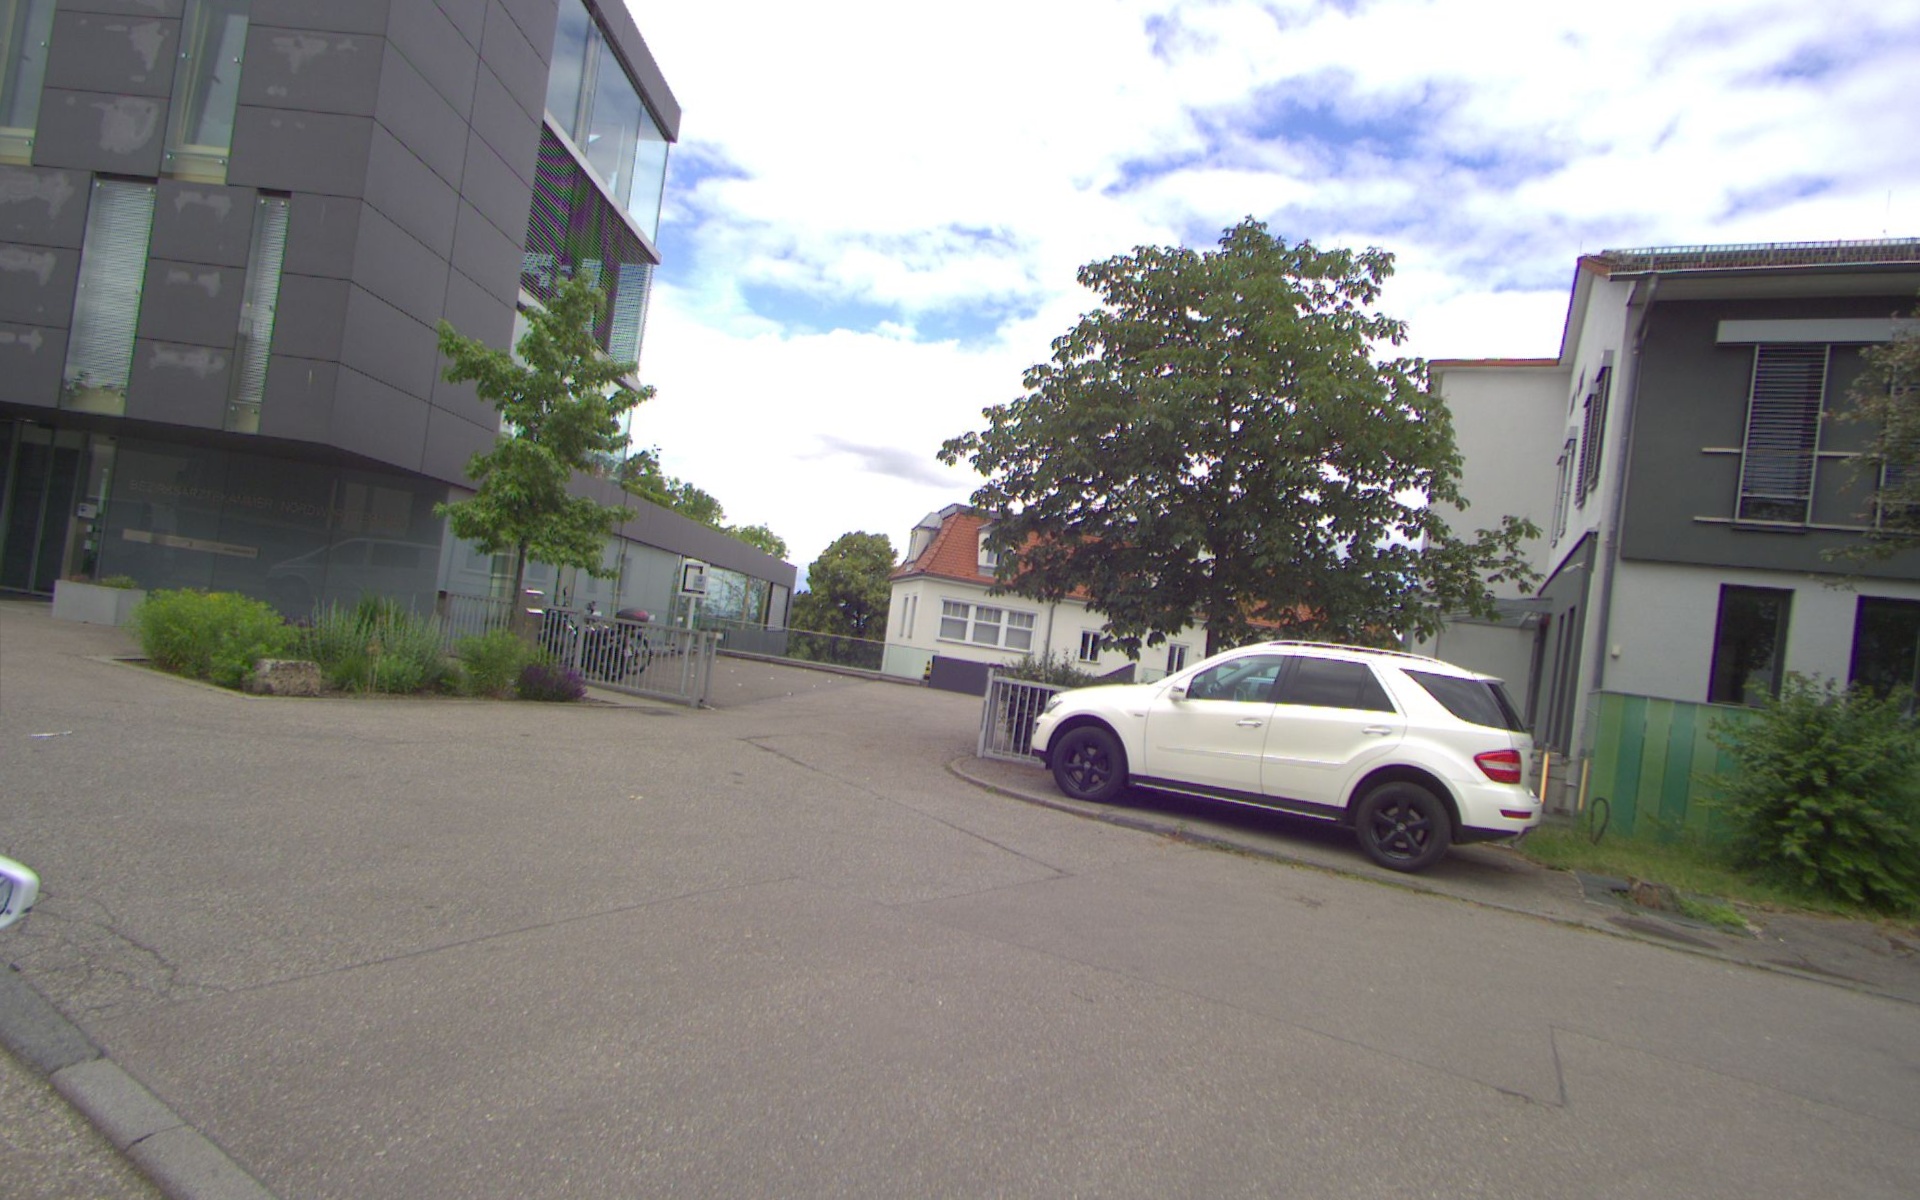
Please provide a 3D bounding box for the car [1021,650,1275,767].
[{"bbox_3d":[3.400,1.915,18.263,4.142,1.501,1.621,5,-2,25],"label":"car"}]

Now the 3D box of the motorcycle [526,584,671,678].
[{"bbox_3d":[-6.735,0.570,18.741,2.416,1.409,0.671,7,-1,13],"label":"motorcycle"}]

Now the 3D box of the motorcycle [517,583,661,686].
[{"bbox_3d":[-6.175,0.573,16.763,2.084,1.409,0.671,7,-1,13],"label":"motorcycle"}]

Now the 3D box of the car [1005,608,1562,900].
[{"bbox_3d":[3.003,1.281,9.717,4.643,1.778,1.856,7,-2,31],"label":"car"}]
